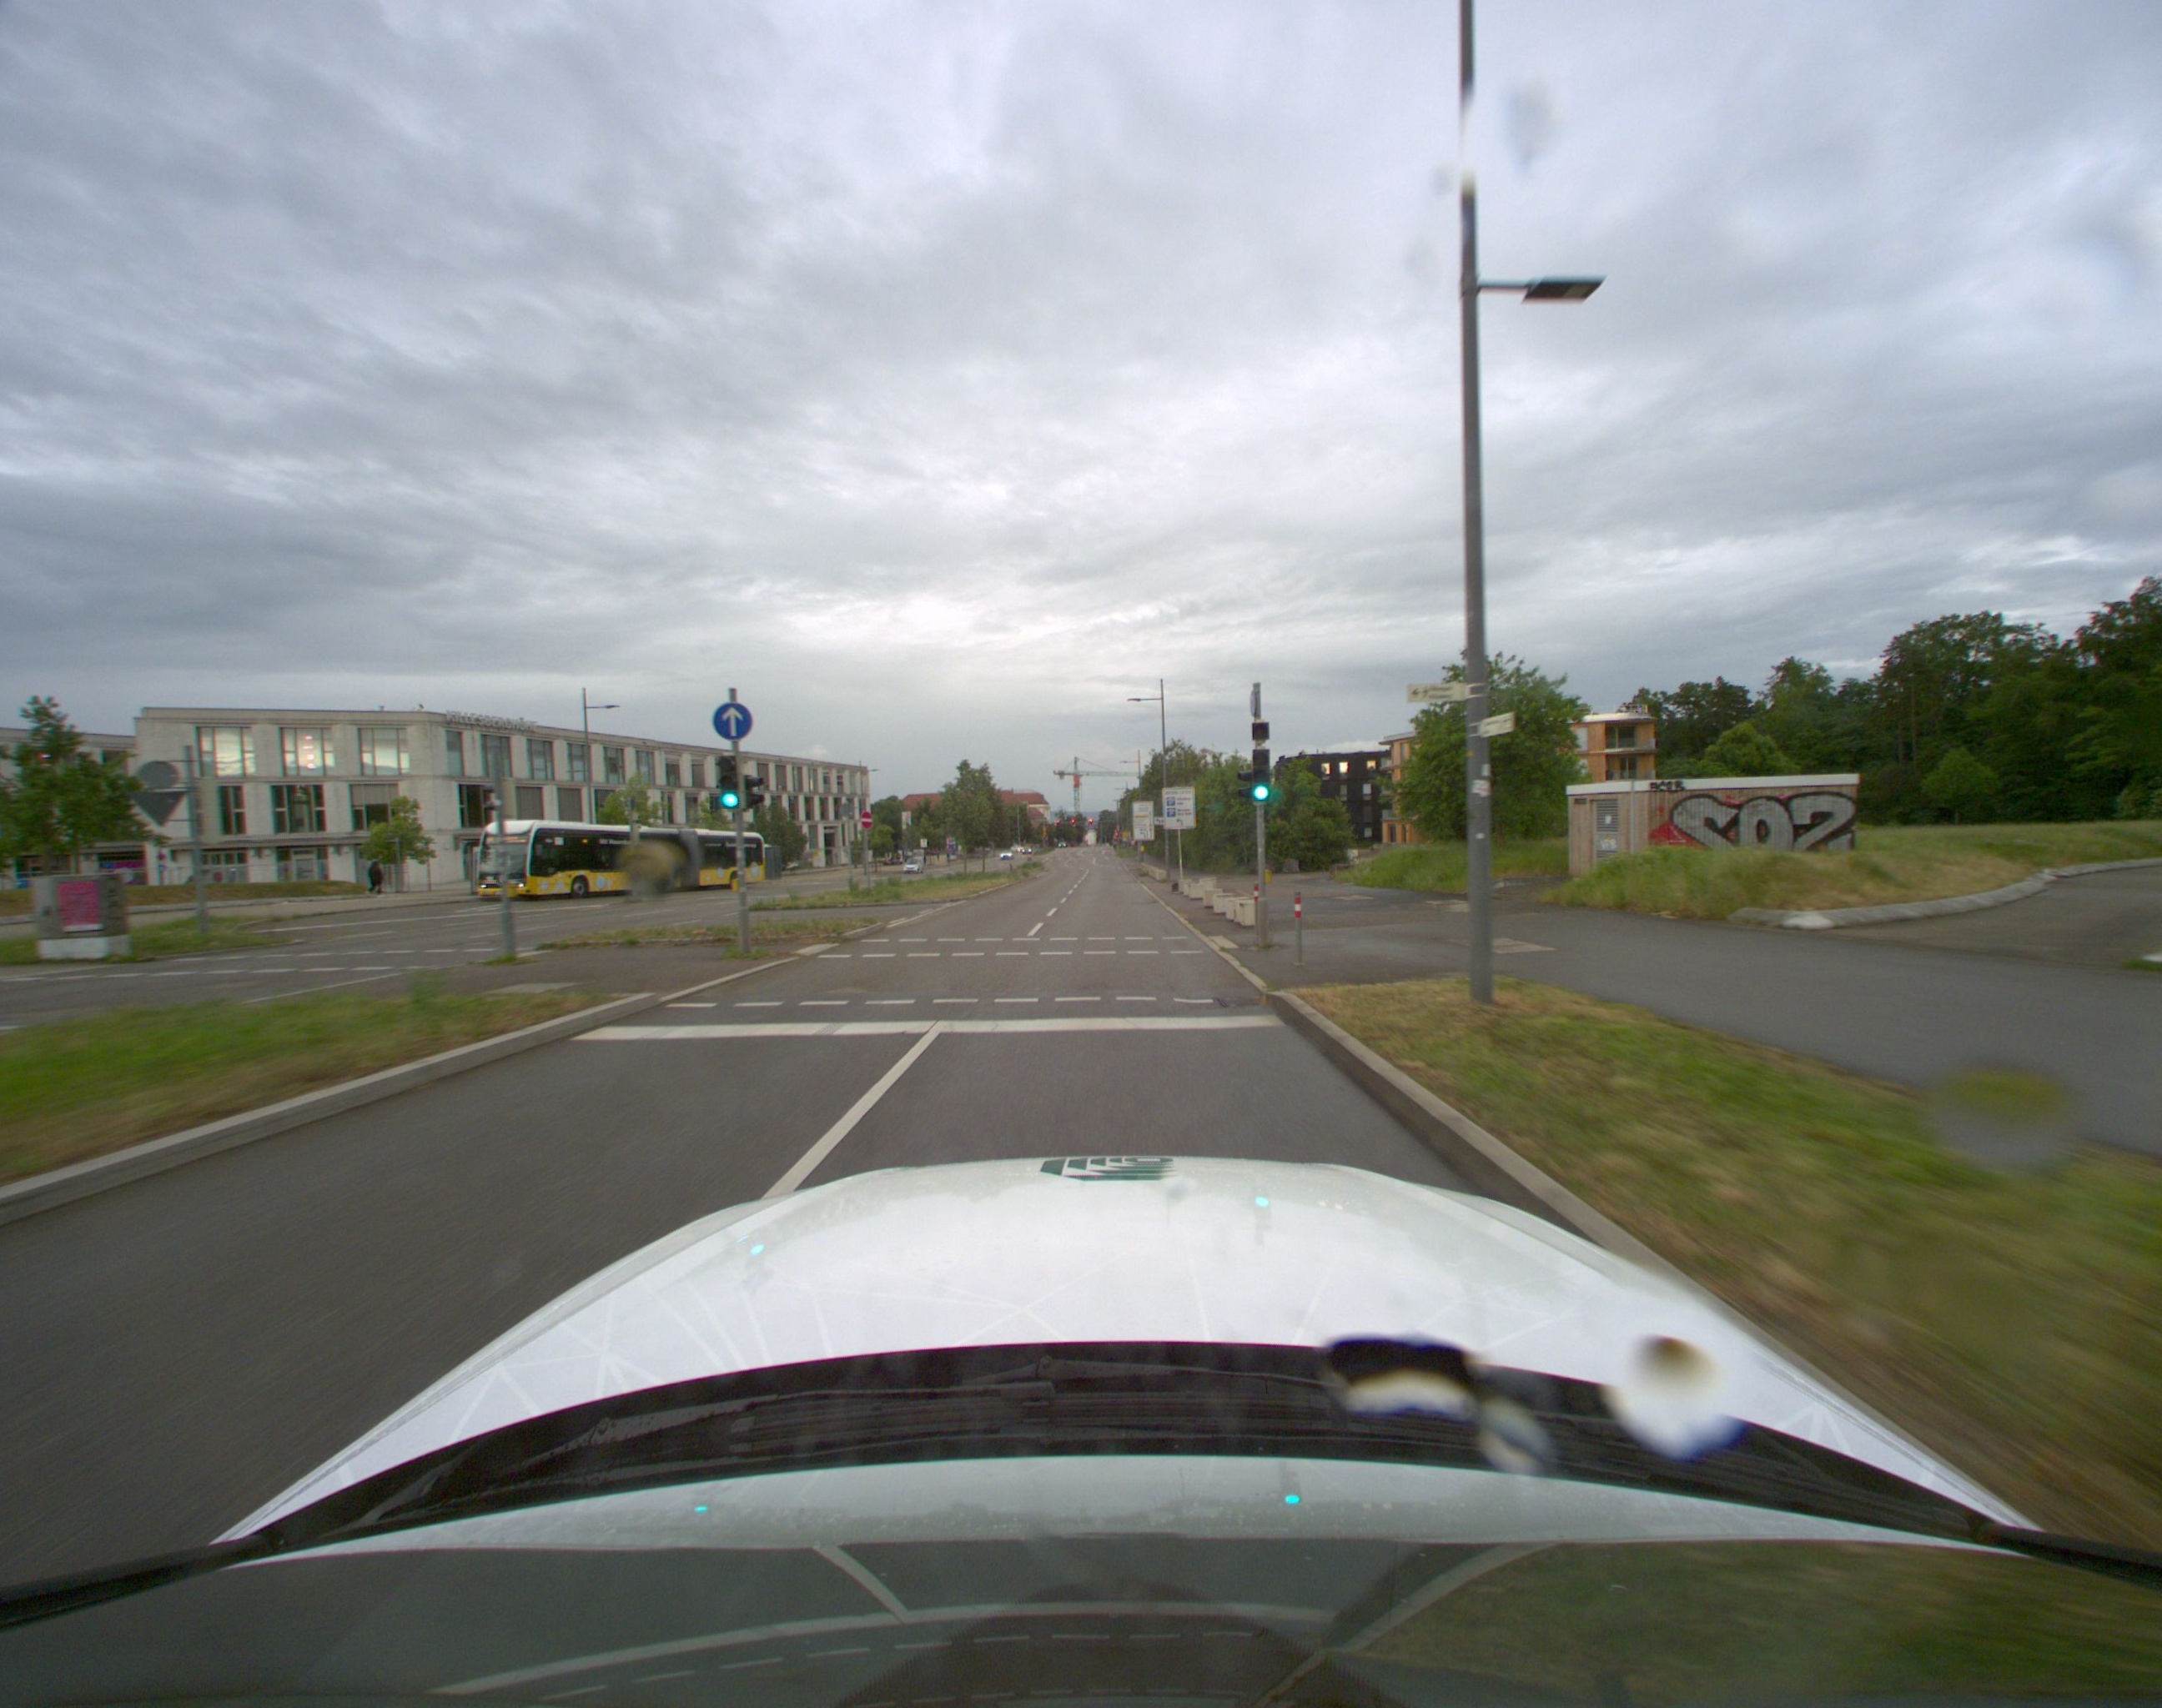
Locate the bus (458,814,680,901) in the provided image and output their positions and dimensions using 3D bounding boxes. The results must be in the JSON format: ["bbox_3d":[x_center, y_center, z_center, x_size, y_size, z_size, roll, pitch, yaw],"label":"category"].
[{"bbox_3d":[-23.025,0.191,37.654,2.805,3.472,9.998,-1,-1,9],"label":"bus"}]

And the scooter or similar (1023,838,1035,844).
[{"bbox_3d":[-14.098,-3.584,222.402,3.078,1.440,0.949,-3,1,-1],"label":"scooter or similar"}]

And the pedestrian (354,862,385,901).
[{"bbox_3d":[-31.267,1.198,35.800,0.558,1.696,0.873,-1,0,5],"label":"pedestrian"}]

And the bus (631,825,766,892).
[{"bbox_3d":[-21.574,0.253,46.637,2.805,3.472,8.251,-1,-1,9],"label":"bus"}]

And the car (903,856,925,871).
[{"bbox_3d":[-17.241,0.995,84.263,1.608,1.508,2.974,-1,0,1],"label":"car"}]

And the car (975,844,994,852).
[{"bbox_3d":[-21.700,-1.339,183.699,3.948,1.878,2.013,-1,-1,38],"label":"car"}]

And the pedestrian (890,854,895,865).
[{"bbox_3d":[-25.427,0.683,109.733,0.424,1.451,0.510,-2,1,2],"label":"pedestrian"}]

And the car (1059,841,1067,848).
[{"bbox_3d":[-4.832,-2.662,220.804,1.986,1.838,4.002,0,-1,2],"label":"car"}]

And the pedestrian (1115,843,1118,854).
[{"bbox_3d":[7.045,-1.091,163.178,0.398,2.013,0.514,-5,1,7],"label":"pedestrian"}]

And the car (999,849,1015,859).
[{"bbox_3d":[-11.776,-0.018,129.177,1.986,1.418,4.515,-2,0,2],"label":"car"}]

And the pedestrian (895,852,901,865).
[{"bbox_3d":[-24.510,0.546,108.994,0.522,1.725,0.567,-2,1,4],"label":"pedestrian"}]

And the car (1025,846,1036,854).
[{"bbox_3d":[-9.855,-0.845,159.589,1.840,1.462,3.869,-3,0,2],"label":"car"}]
